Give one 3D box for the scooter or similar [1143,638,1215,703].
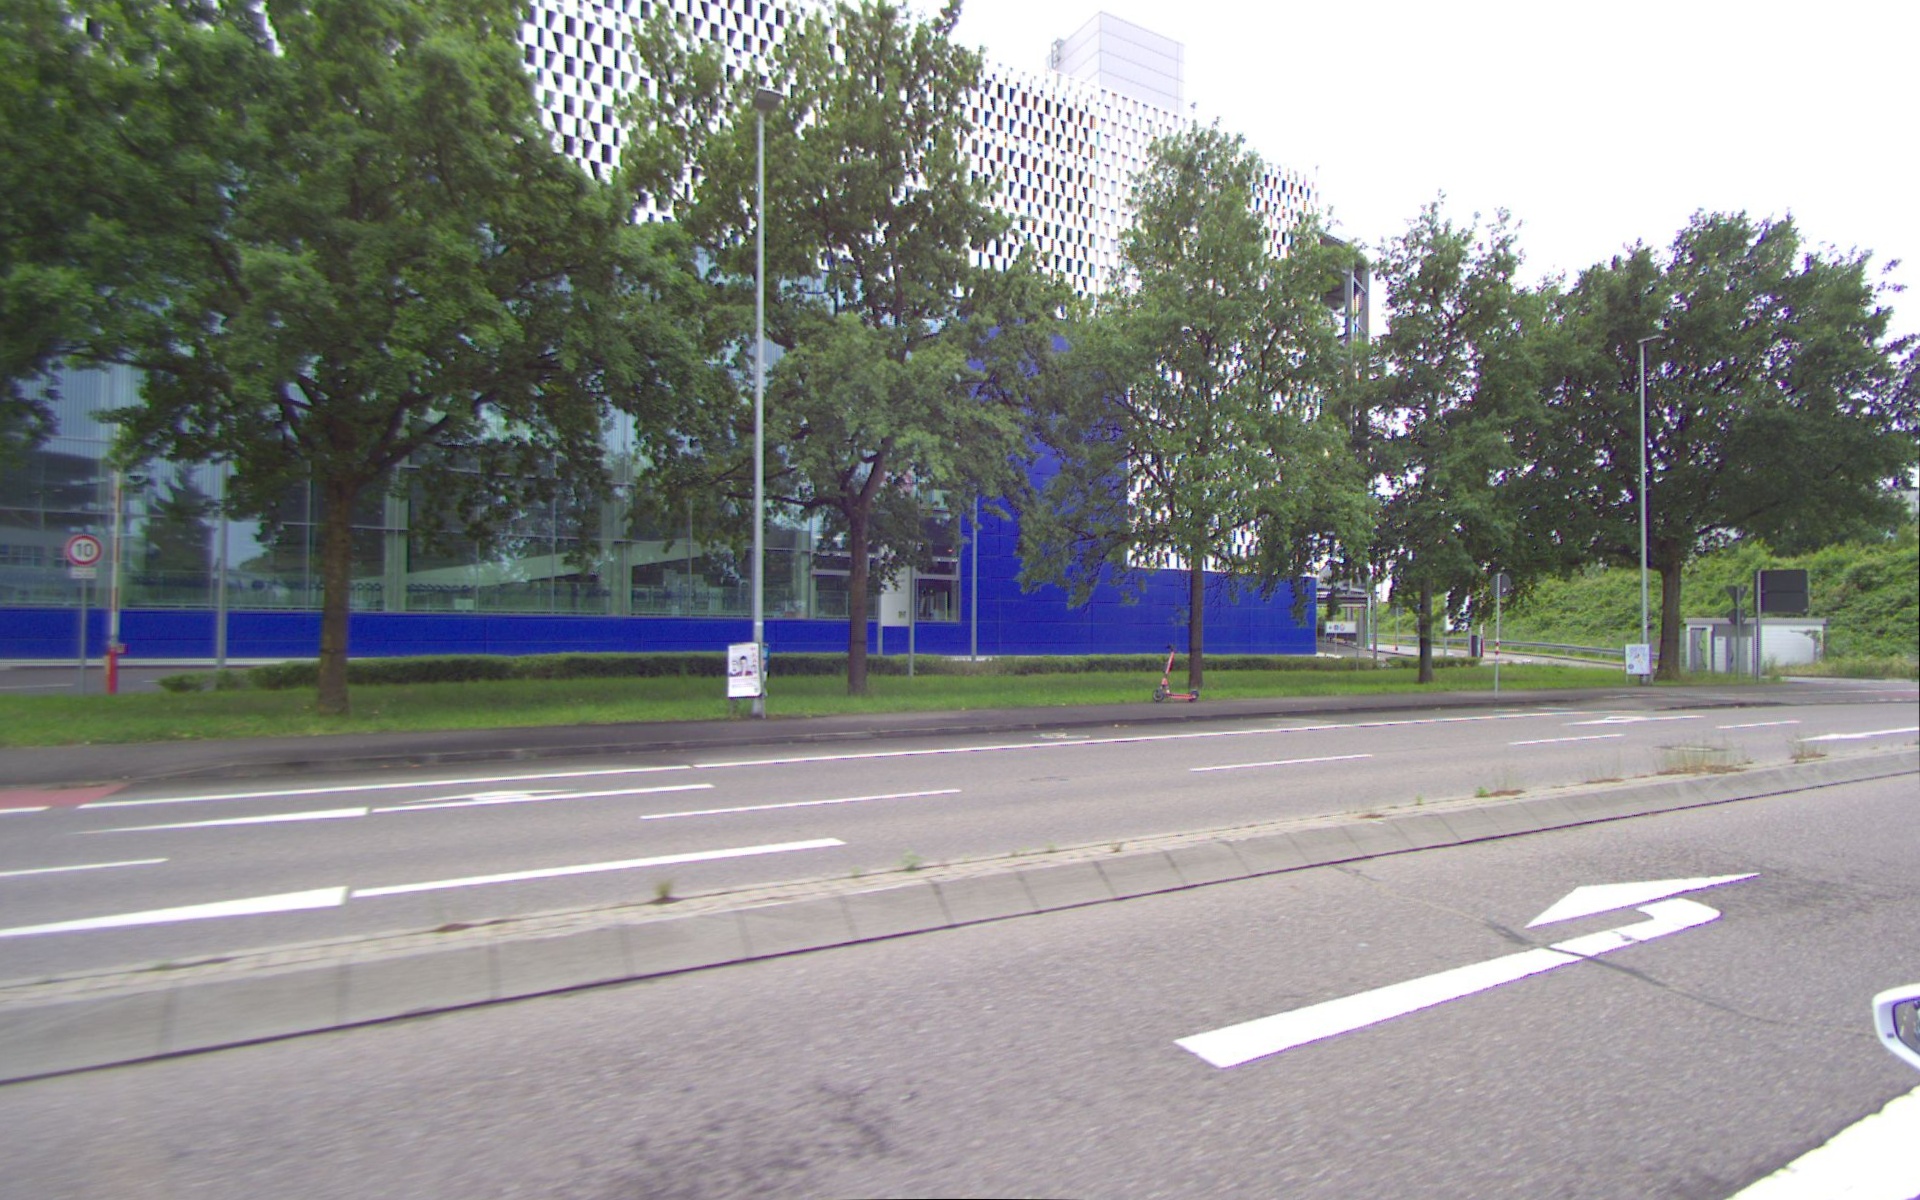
[{"bbox_3d":[4.632,1.472,21.188,1.482,1.339,0.446,1,-1,-20],"label":"scooter or similar"}]
